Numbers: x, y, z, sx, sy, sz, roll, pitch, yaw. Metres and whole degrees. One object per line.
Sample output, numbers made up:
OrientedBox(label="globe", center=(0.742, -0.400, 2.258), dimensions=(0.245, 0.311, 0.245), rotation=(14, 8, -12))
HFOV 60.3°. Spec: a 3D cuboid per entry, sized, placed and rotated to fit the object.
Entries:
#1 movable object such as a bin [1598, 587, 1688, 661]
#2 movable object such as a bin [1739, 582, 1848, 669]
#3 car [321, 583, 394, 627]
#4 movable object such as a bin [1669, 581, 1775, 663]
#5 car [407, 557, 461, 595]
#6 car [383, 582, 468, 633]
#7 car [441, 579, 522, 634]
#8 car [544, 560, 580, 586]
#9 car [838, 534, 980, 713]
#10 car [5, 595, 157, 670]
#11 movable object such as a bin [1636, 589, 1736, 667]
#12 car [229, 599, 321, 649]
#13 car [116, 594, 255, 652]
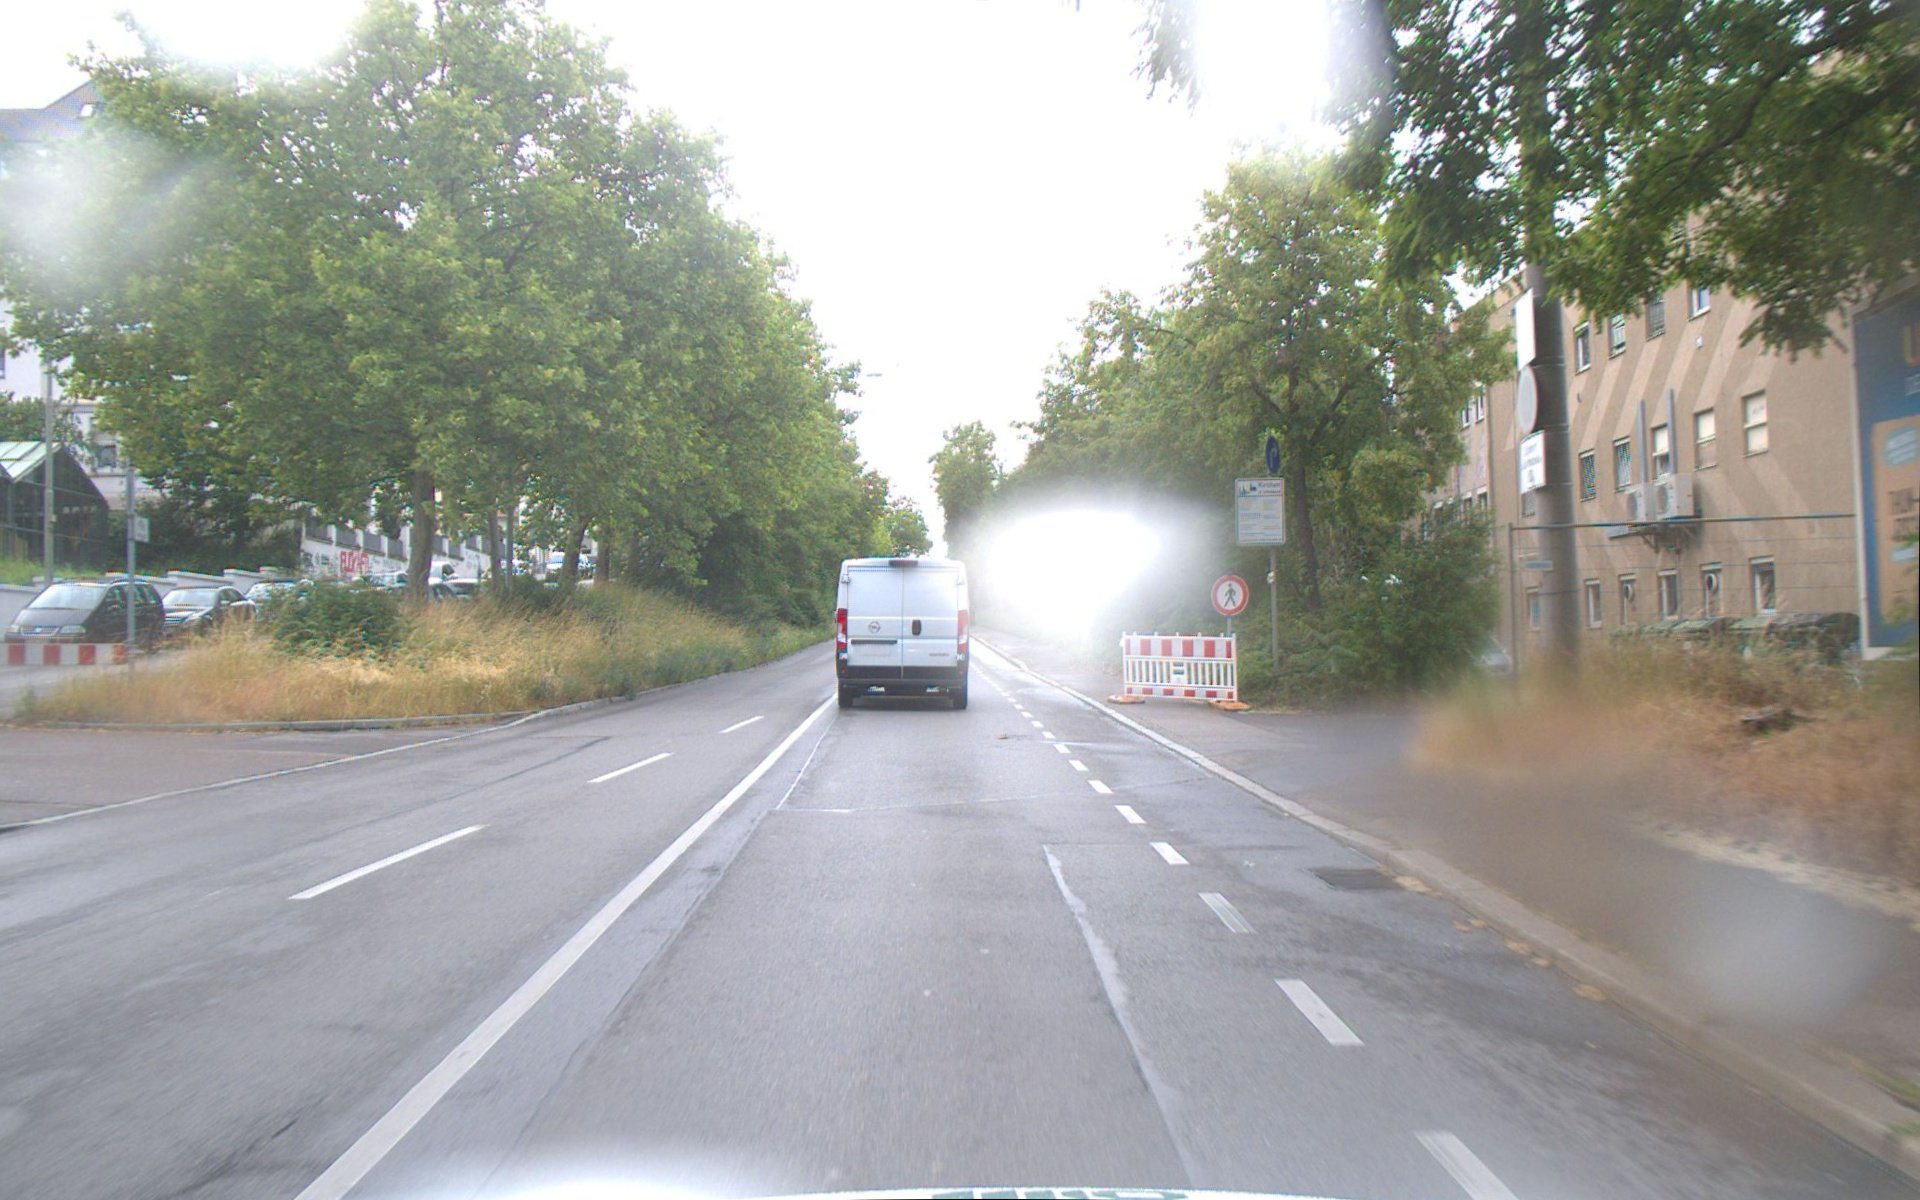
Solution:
OrientedBox(label="movable object such as a bin", center=(13.930, 0.489, 33.782), dimensions=(1.245, 1.441, 1.357), rotation=(-2, -1, 0))
OrientedBox(label="movable object such as a bin", center=(14.431, 0.430, 28.679), dimensions=(1.188, 1.441, 1.331), rotation=(-2, -1, 0))
OrientedBox(label="car", center=(-20.057, 0.181, 55.162), dimensions=(1.332, 1.333, 3.085), rotation=(-2, -2, -1))
OrientedBox(label="movable object such as a bin", center=(14.059, 0.405, 30.566), dimensions=(1.278, 1.441, 1.419), rotation=(-2, -1, 0))
OrientedBox(label="car", center=(-20.789, -0.928, 65.463), dimensions=(1.355, 1.321, 3.012), rotation=(-1, -2, -5))
OrientedBox(label="car", center=(-13.010, 0.199, 40.394), dimensions=(1.323, 1.115, 2.750), rotation=(-1, -2, -4))
OrientedBox(label="car", center=(-13.249, 0.201, 45.898), dimensions=(1.406, 1.385, 3.173), rotation=(-2, -2, -2))
OrientedBox(label="car", center=(-22.992, -1.541, 95.533), dimensions=(1.568, 1.272, 2.907), rotation=(-1, -2, -5))
OrientedBox(label="car", center=(-0.802, 0.344, 26.765), dimensions=(2.008, 2.560, 4.942), rotation=(2, 0, -1))
OrientedBox(label="car", center=(-19.133, 0.743, 36.153), dimensions=(1.616, 1.513, 3.514), rotation=(-1, -2, -4))
OrientedBox(label="movable object such as a bin", center=(14.061, 0.541, 32.069), dimensions=(1.278, 1.441, 1.431), rotation=(-2, -1, 0))
OrientedBox(label="car", center=(-19.716, 0.711, 47.721), dimensions=(1.435, 1.313, 3.302), rotation=(-1, -2, -4))
OrientedBox(label="car", center=(-19.495, 0.625, 41.800), dimensions=(1.780, 1.313, 4.118), rotation=(-1, -2, -4))
